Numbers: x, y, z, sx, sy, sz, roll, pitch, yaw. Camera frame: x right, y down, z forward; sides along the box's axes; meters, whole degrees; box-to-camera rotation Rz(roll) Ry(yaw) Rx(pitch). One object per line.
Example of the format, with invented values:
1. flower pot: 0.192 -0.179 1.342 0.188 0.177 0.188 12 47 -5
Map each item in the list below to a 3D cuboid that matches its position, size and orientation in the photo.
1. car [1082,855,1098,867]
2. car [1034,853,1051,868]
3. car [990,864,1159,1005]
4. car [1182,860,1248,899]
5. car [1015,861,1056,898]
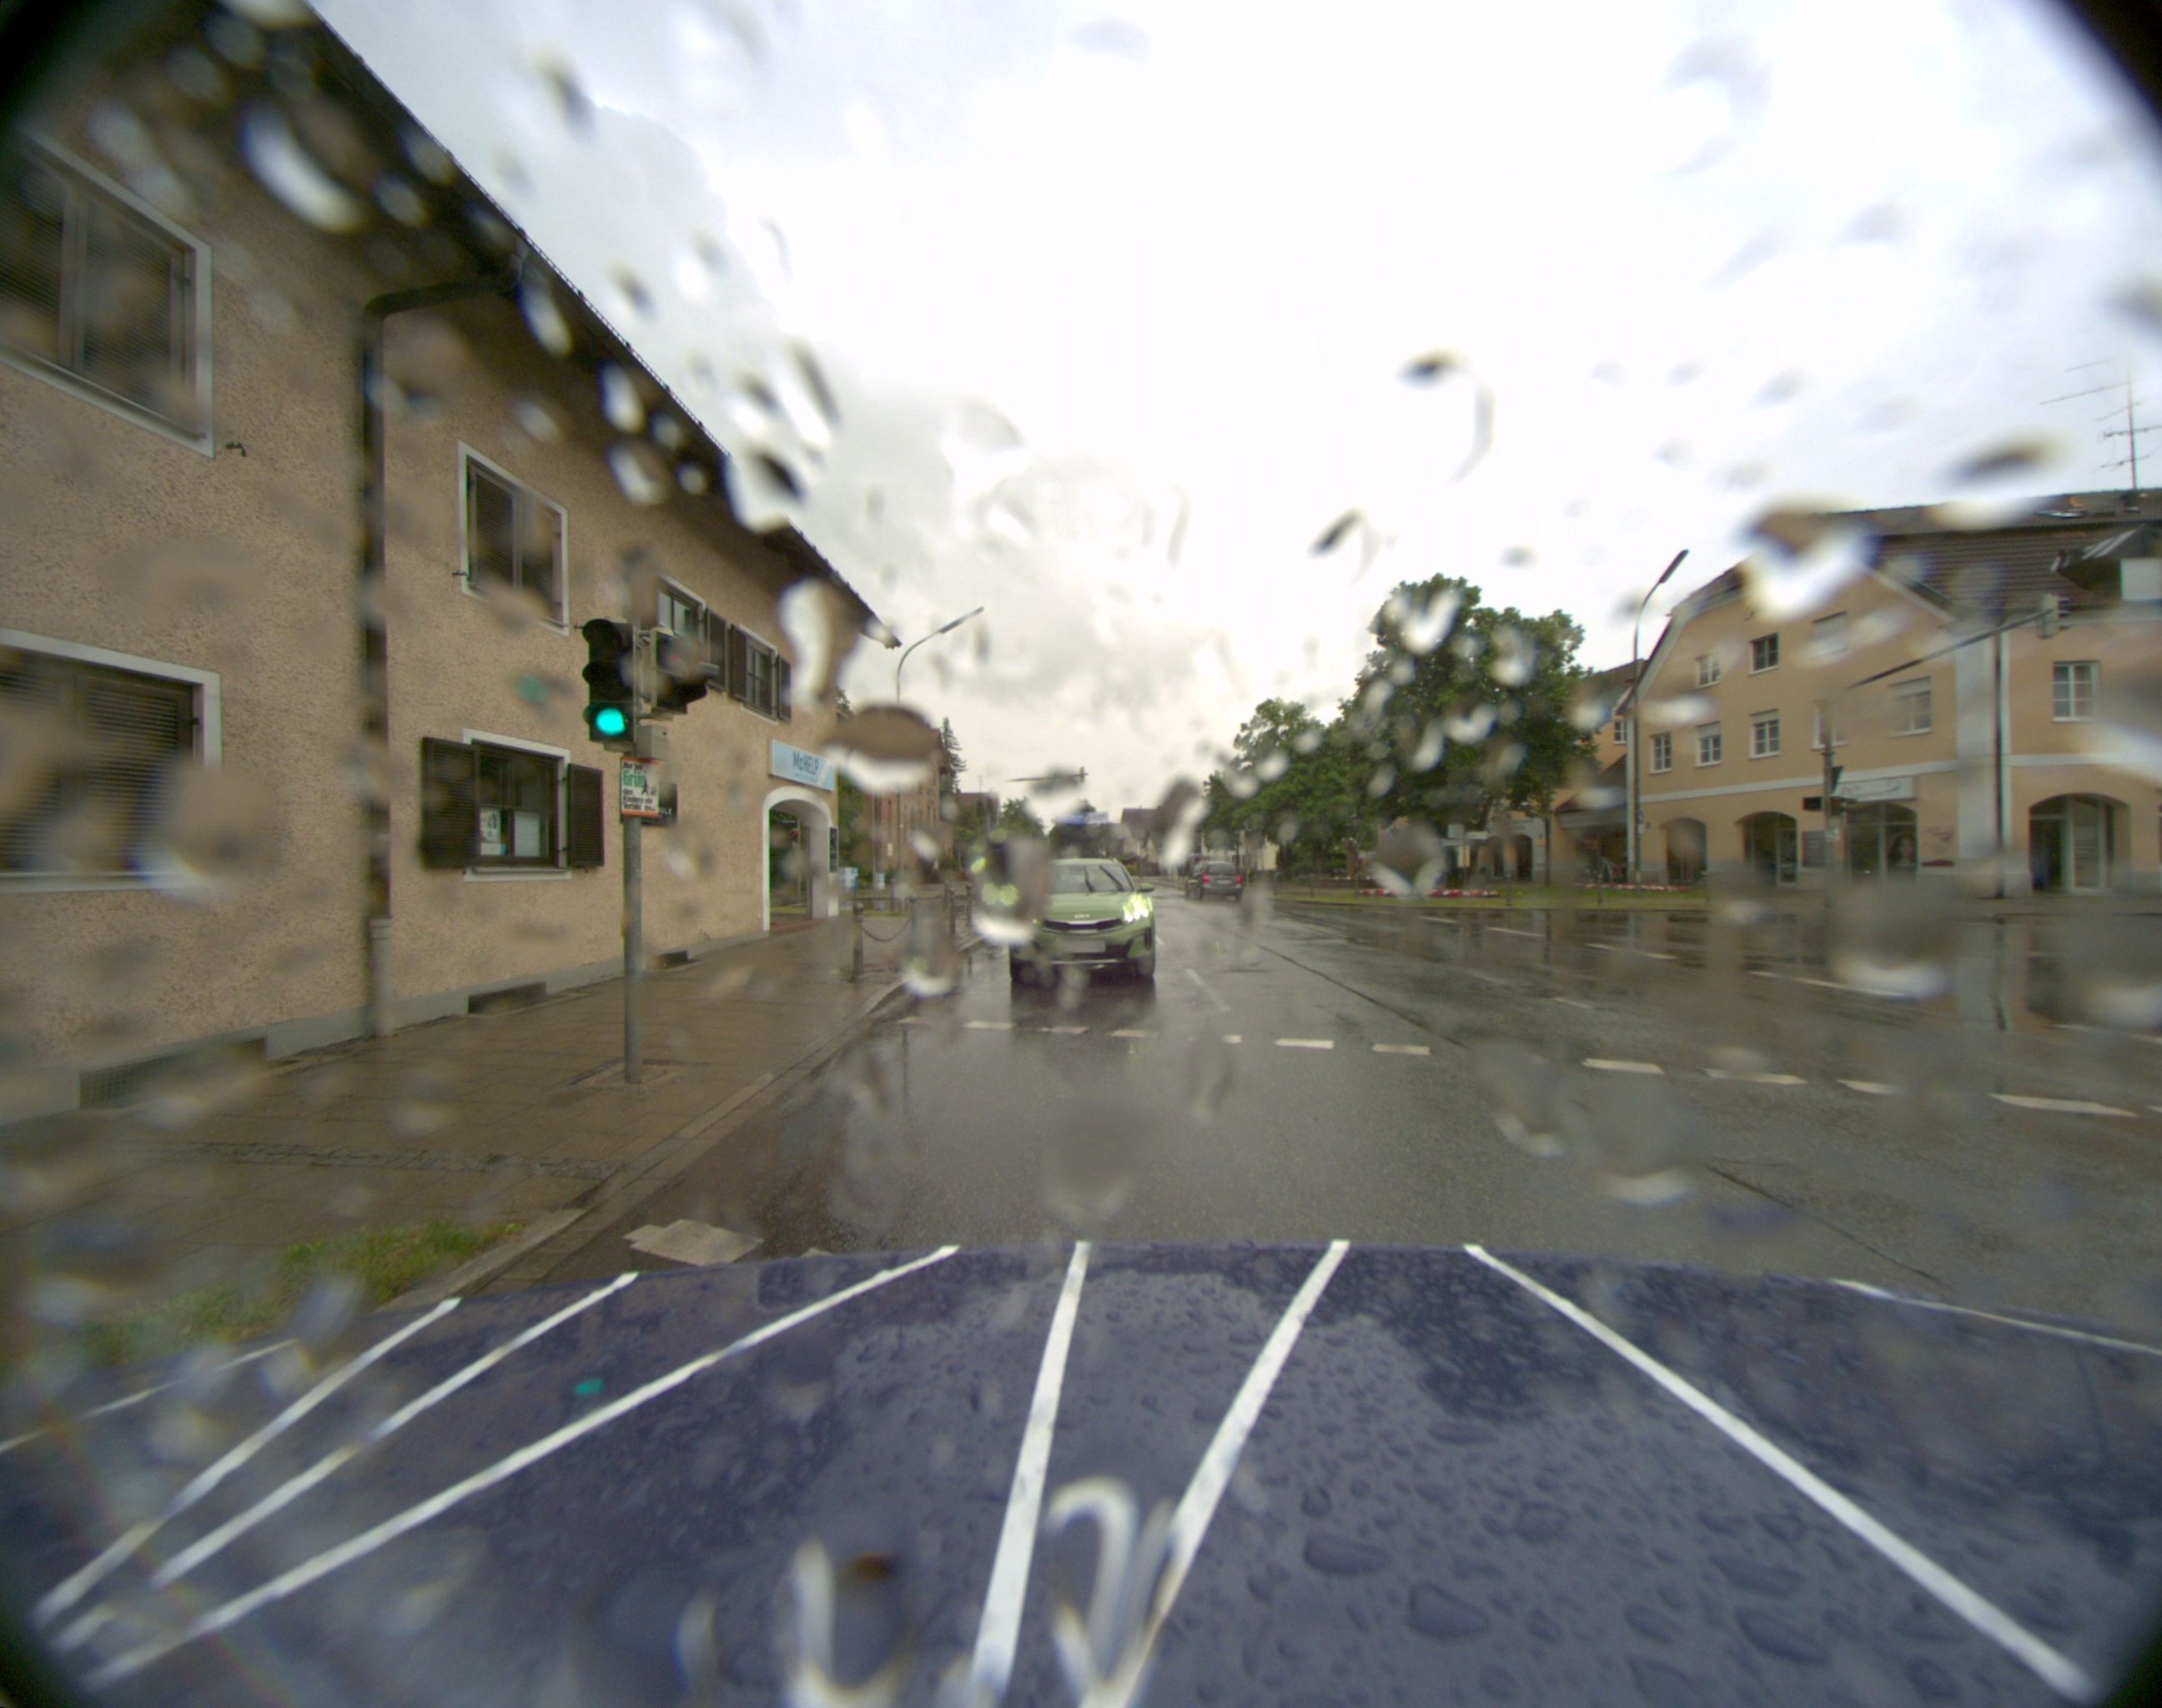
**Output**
1. car: 1.131 0.892 96.893 1.873 1.447 4.104 0 0 -2
2. car: -5.285 0.815 103.874 2.218 1.977 4.952 0 0 -5
3. car: -0.049 0.933 10.585 1.872 1.504 4.105 -1 0 1
4. car: 5.548 1.021 31.892 1.921 1.524 3.898 0 0 -3
5. car: -2.091 1.105 34.597 1.736 1.489 4.608 0 0 -4
